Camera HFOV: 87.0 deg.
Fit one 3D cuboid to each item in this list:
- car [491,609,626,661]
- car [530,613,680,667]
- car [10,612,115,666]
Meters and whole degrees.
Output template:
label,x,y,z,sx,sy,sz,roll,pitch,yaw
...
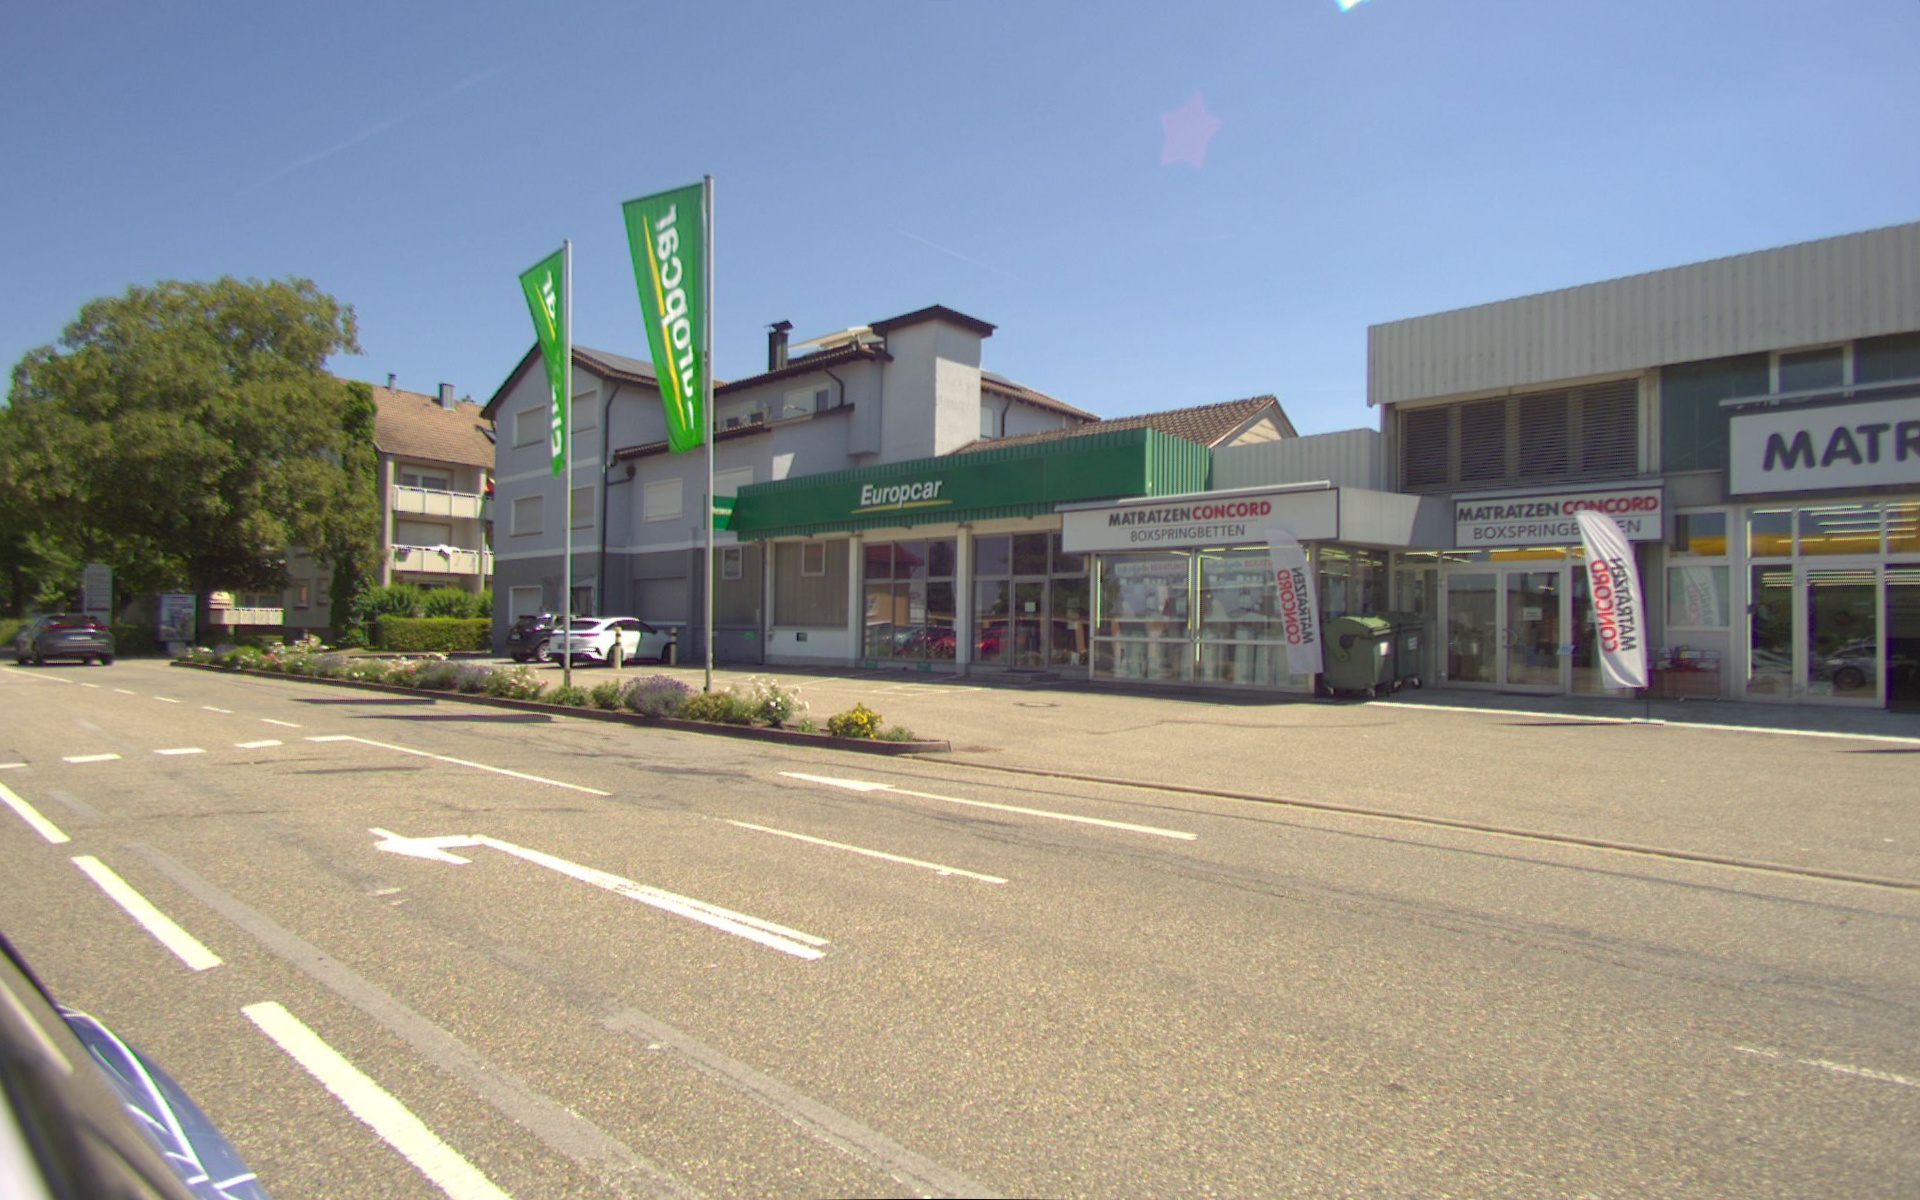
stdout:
label,x,y,z,sx,sy,sz,roll,pitch,yaw
car,-12.805,1.094,32.430,1.968,1.577,3.524,-1,-1,39
car,-10.217,1.123,29.501,1.923,1.450,4.330,0,-1,17
car,-27.034,1.149,30.447,4.134,1.538,1.744,-1,-2,40
